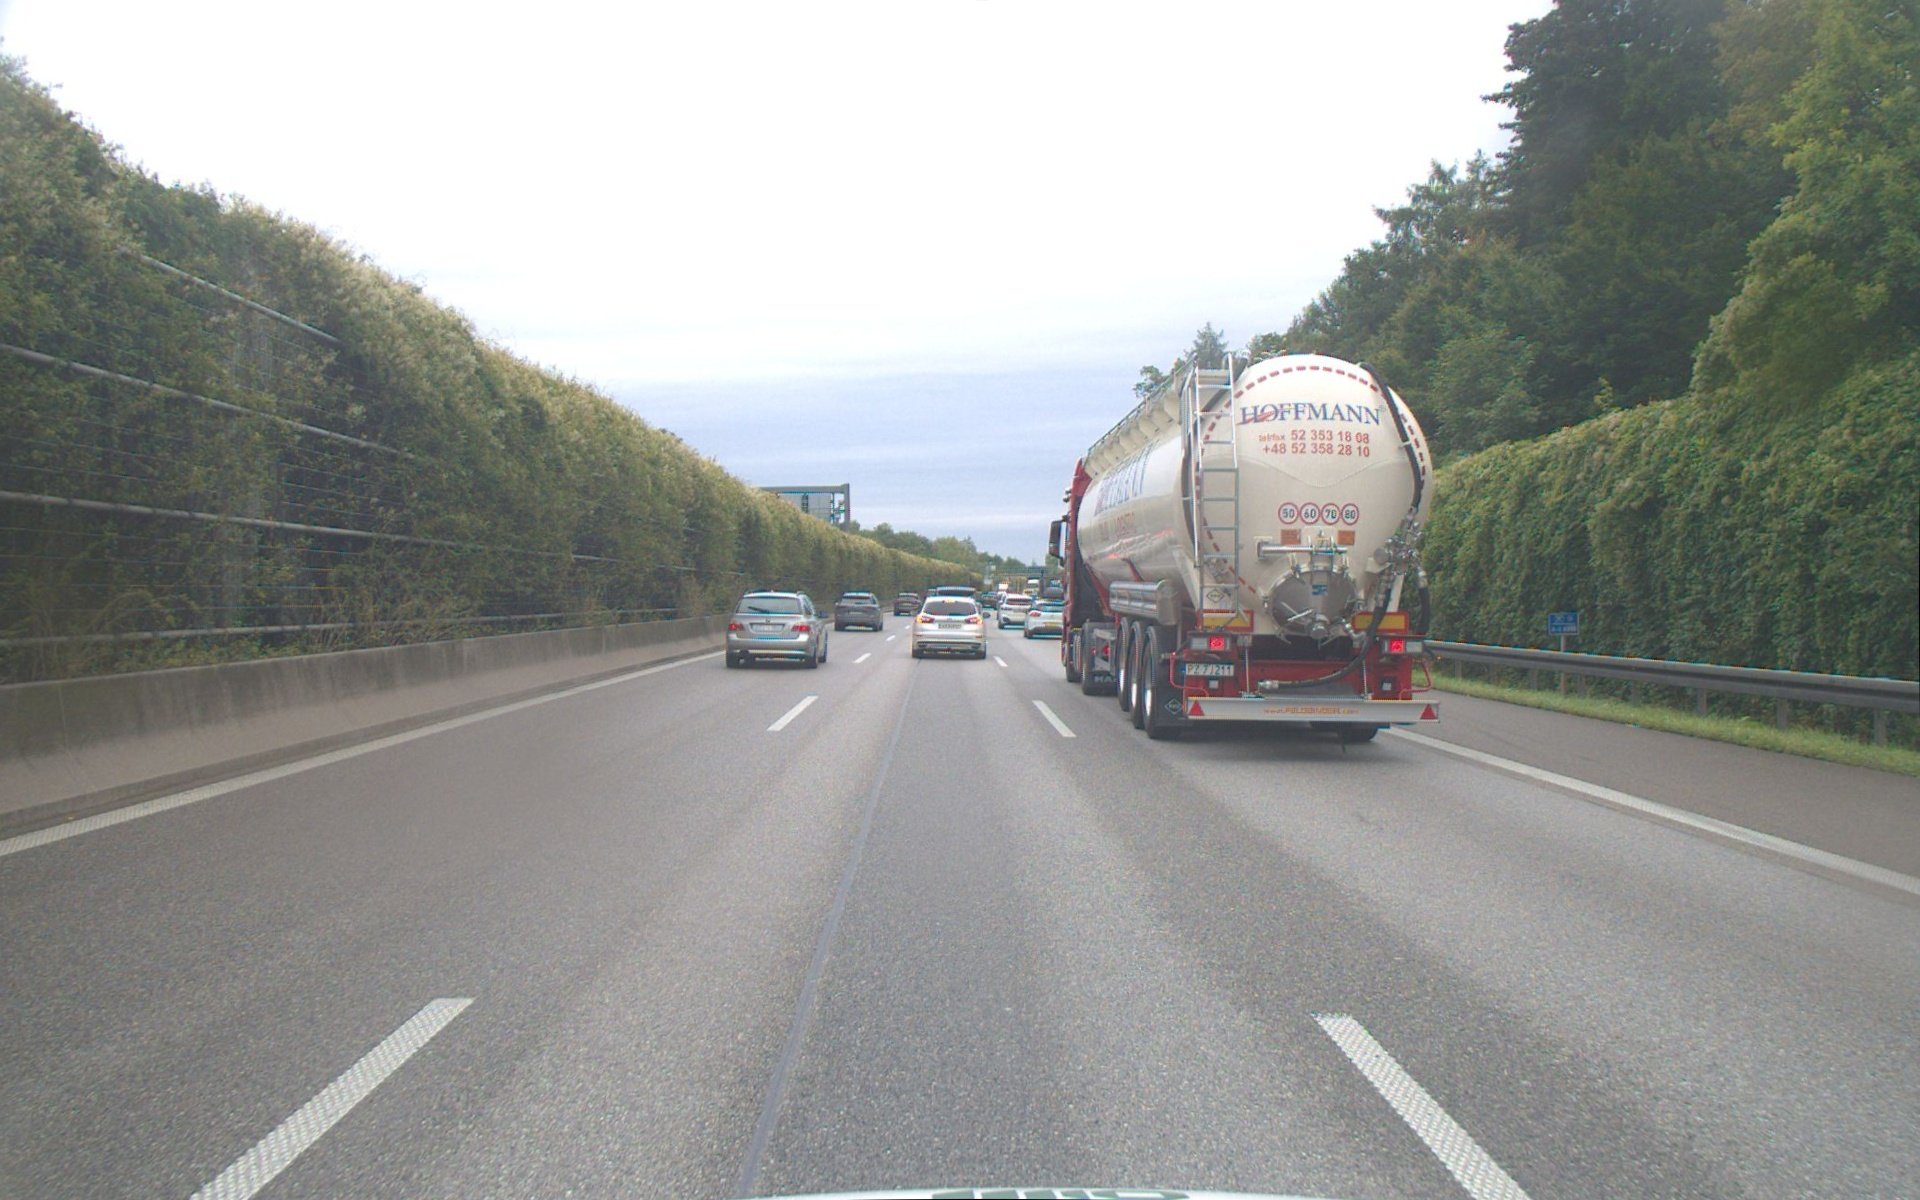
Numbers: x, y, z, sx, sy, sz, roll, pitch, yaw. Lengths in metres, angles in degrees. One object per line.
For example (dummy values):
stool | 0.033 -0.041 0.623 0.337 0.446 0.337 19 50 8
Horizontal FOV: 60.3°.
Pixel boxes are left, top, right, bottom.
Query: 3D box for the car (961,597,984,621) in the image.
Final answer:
car | 0.951 0.703 127.884 1.753 1.811 3.871 0 0 0

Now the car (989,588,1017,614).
car | 2.711 0.066 104.299 1.654 1.533 3.871 1 0 0

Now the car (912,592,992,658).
car | -0.218 0.586 41.197 1.853 1.530 5.029 1 0 -1

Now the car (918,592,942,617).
car | -2.527 0.343 138.916 1.953 2.049 3.999 1 0 -1

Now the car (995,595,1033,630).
car | 2.514 0.570 77.134 1.654 1.533 3.871 1 0 0

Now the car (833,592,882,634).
car | -3.996 0.488 65.225 1.685 1.538 5.029 1 0 -1

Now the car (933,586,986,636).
car | -0.038 0.369 59.317 1.655 1.532 3.870 5 1 -2

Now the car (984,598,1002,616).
car | 3.074 0.660 154.252 1.654 1.566 3.871 1 0 0

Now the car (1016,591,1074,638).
car | 3.116 0.520 61.433 1.779 1.654 5.029 1 0 -1

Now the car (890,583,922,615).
car | -3.506 -0.063 107.553 1.953 2.049 3.840 1 0 -1

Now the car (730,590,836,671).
car | -3.562 0.564 33.986 1.685 1.494 5.029 1 1 -1

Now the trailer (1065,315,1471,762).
trailer | 3.216 -0.531 21.562 2.614 4.008 13.127 1 0 -1

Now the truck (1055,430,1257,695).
truck | 3.165 -0.550 28.381 2.640 3.981 6.556 1 0 0
